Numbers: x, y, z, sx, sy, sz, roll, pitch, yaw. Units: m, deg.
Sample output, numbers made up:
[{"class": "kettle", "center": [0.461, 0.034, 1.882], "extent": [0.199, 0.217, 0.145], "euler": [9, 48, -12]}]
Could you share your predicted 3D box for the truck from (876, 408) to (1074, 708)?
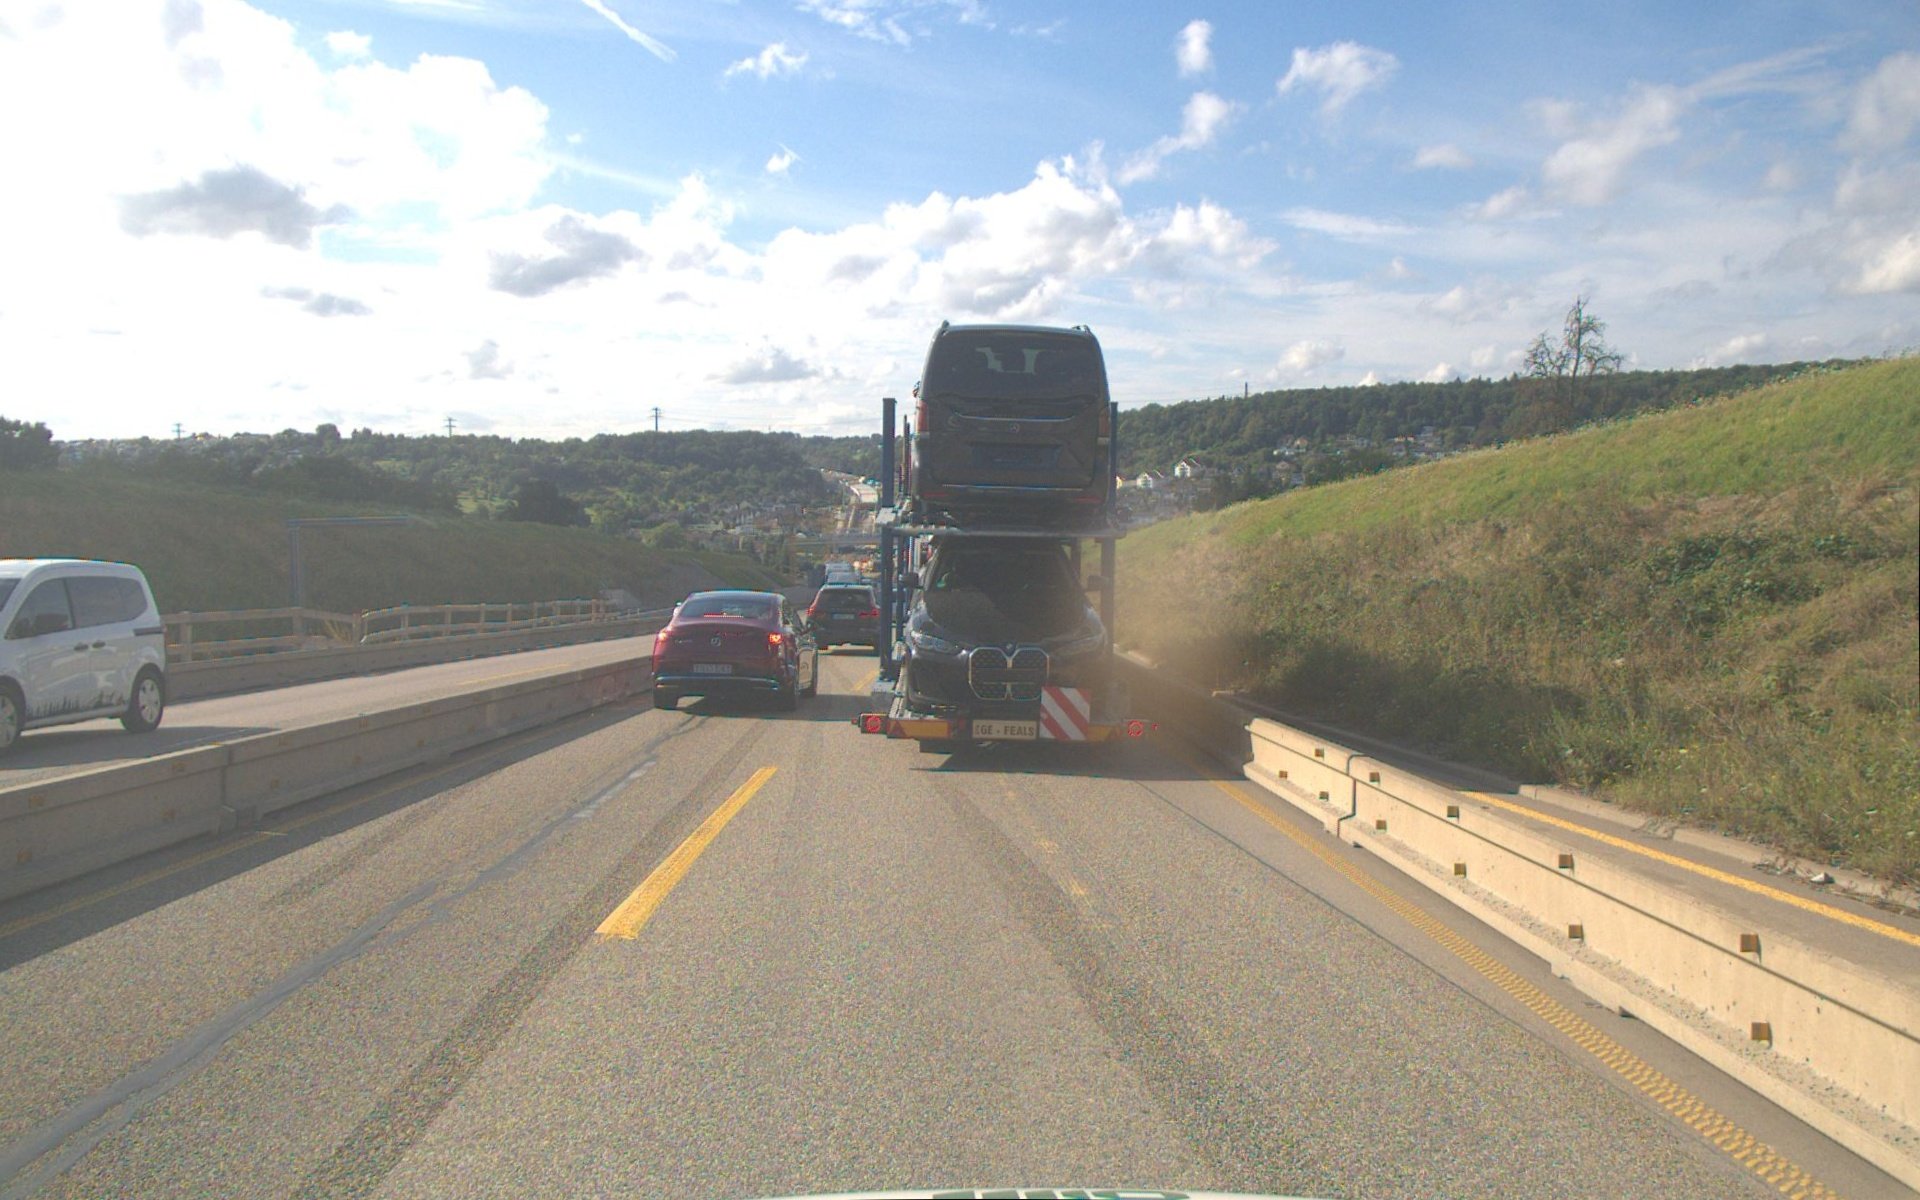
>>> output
[{"class": "truck", "center": [0.185, -0.581, 24.992], "extent": [2.623, 3.990, 6.027], "euler": [0, 0, 0]}]

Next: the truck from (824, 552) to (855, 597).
[{"class": "truck", "center": [-11.561, -2.426, 159.067], "extent": [2.561, 4.226, 5.781], "euler": [0, 0, 0]}]

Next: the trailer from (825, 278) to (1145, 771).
[{"class": "trailer", "center": [0.217, -0.673, 19.466], "extent": [2.652, 4.099, 11.419], "euler": [0, 0, 0]}]

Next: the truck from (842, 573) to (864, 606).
[{"class": "truck", "center": [-14.031, -1.372, 218.044], "extent": [2.585, 4.171, 10.814], "euler": [0, 0, -2]}]

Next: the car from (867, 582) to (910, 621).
[{"class": "car", "center": [-3.053, 0.043, 70.671], "extent": [1.760, 1.624, 4.740], "euler": [0, 0, -3]}]

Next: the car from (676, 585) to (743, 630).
[{"class": "car", "center": [-8.706, 0.252, 57.814], "extent": [1.699, 1.450, 4.626], "euler": [-3, 0, -2]}]

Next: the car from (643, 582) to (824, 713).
[{"class": "car", "center": [-2.890, 0.550, 22.036], "extent": [1.786, 1.518, 4.683], "euler": [1, 0, -1]}]

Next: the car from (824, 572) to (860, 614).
[{"class": "car", "center": [-8.635, -0.519, 121.396], "extent": [2.067, 2.885, 6.138], "euler": [-3, 0, 0]}]

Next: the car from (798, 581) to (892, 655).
[{"class": "car", "center": [-2.758, 0.394, 40.685], "extent": [1.953, 1.653, 4.750], "euler": [1, 1, 0]}]

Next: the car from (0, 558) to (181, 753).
[{"class": "car", "center": [-9.262, 0.496, 15.803], "extent": [1.699, 1.688, 4.216], "euler": [-3, 1, -2]}]
